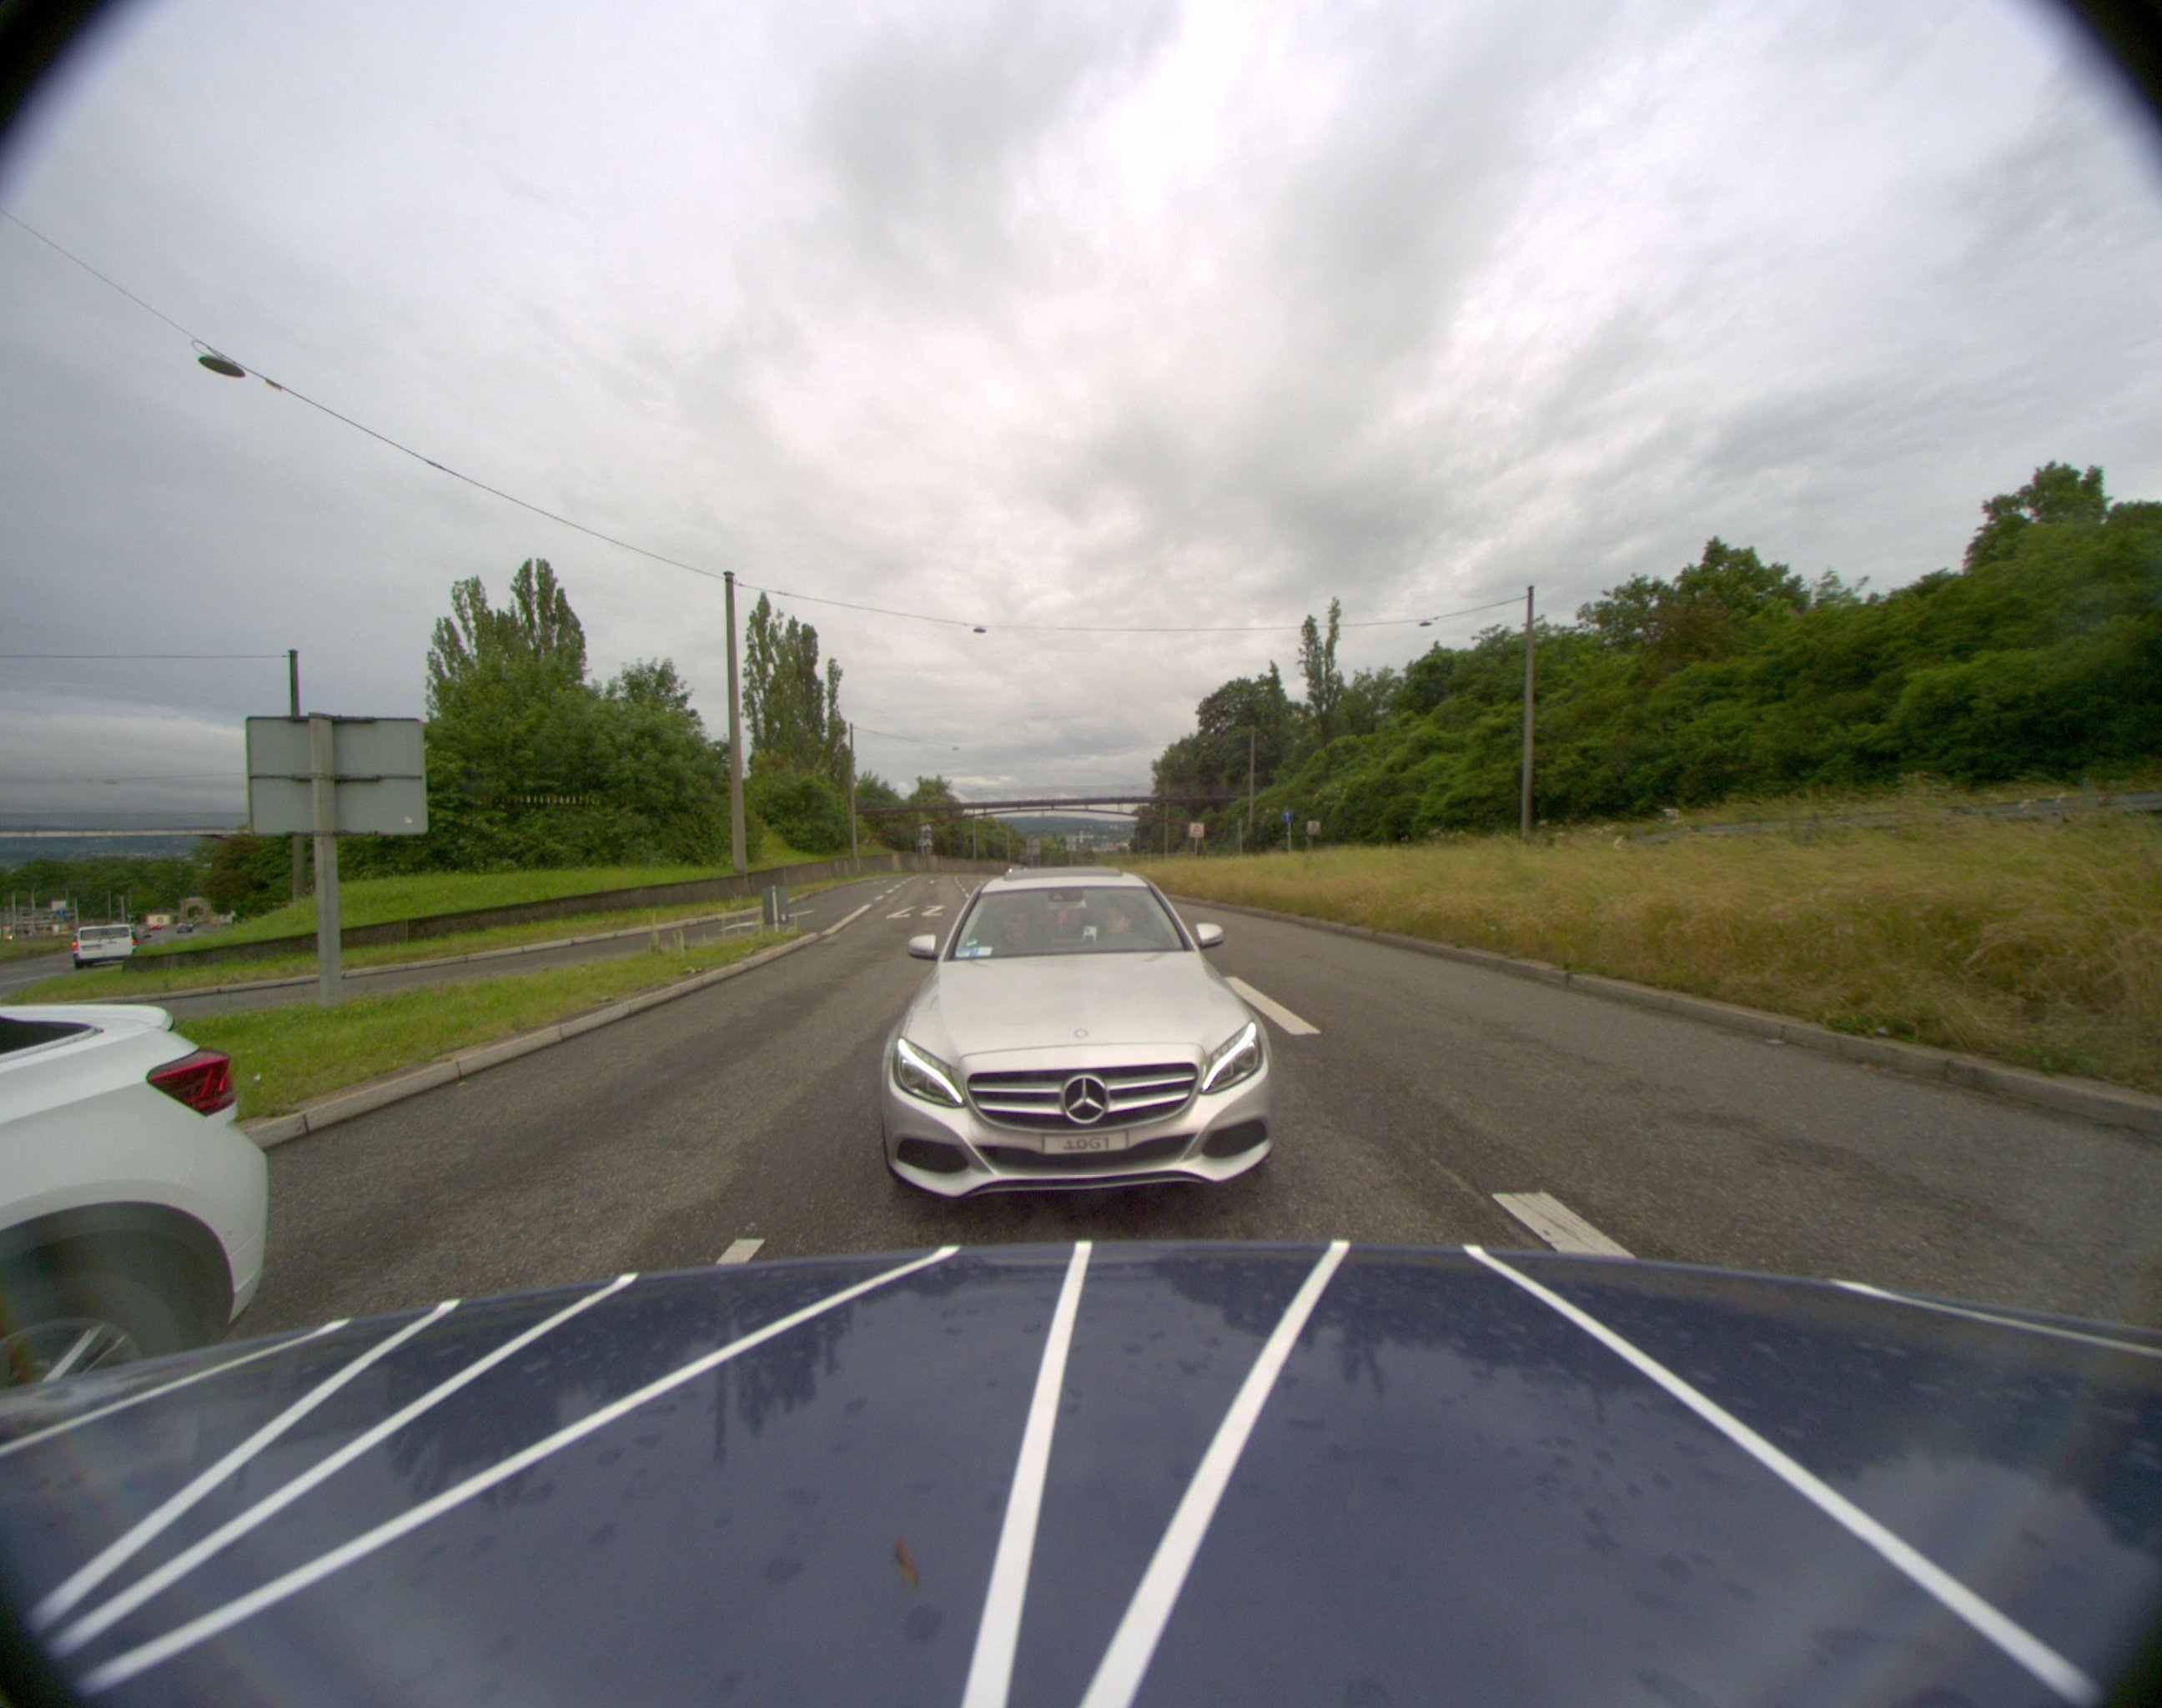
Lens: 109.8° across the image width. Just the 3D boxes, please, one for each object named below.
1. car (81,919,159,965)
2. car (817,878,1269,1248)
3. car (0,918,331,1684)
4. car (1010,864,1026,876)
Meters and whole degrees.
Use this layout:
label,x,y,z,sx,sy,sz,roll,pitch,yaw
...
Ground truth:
label,x,y,z,sx,sy,sz,roll,pitch,yaw
car,-45.086,4.082,35.743,4.811,1.837,2.003,-4,0,40
car,-0.070,0.968,5.301,1.894,1.361,4.135,-1,1,3
car,-3.106,1.029,0.162,1.718,1.544,4.227,-2,1,-2
car,-9.521,2.409,115.053,1.911,1.668,4.001,-5,0,2
